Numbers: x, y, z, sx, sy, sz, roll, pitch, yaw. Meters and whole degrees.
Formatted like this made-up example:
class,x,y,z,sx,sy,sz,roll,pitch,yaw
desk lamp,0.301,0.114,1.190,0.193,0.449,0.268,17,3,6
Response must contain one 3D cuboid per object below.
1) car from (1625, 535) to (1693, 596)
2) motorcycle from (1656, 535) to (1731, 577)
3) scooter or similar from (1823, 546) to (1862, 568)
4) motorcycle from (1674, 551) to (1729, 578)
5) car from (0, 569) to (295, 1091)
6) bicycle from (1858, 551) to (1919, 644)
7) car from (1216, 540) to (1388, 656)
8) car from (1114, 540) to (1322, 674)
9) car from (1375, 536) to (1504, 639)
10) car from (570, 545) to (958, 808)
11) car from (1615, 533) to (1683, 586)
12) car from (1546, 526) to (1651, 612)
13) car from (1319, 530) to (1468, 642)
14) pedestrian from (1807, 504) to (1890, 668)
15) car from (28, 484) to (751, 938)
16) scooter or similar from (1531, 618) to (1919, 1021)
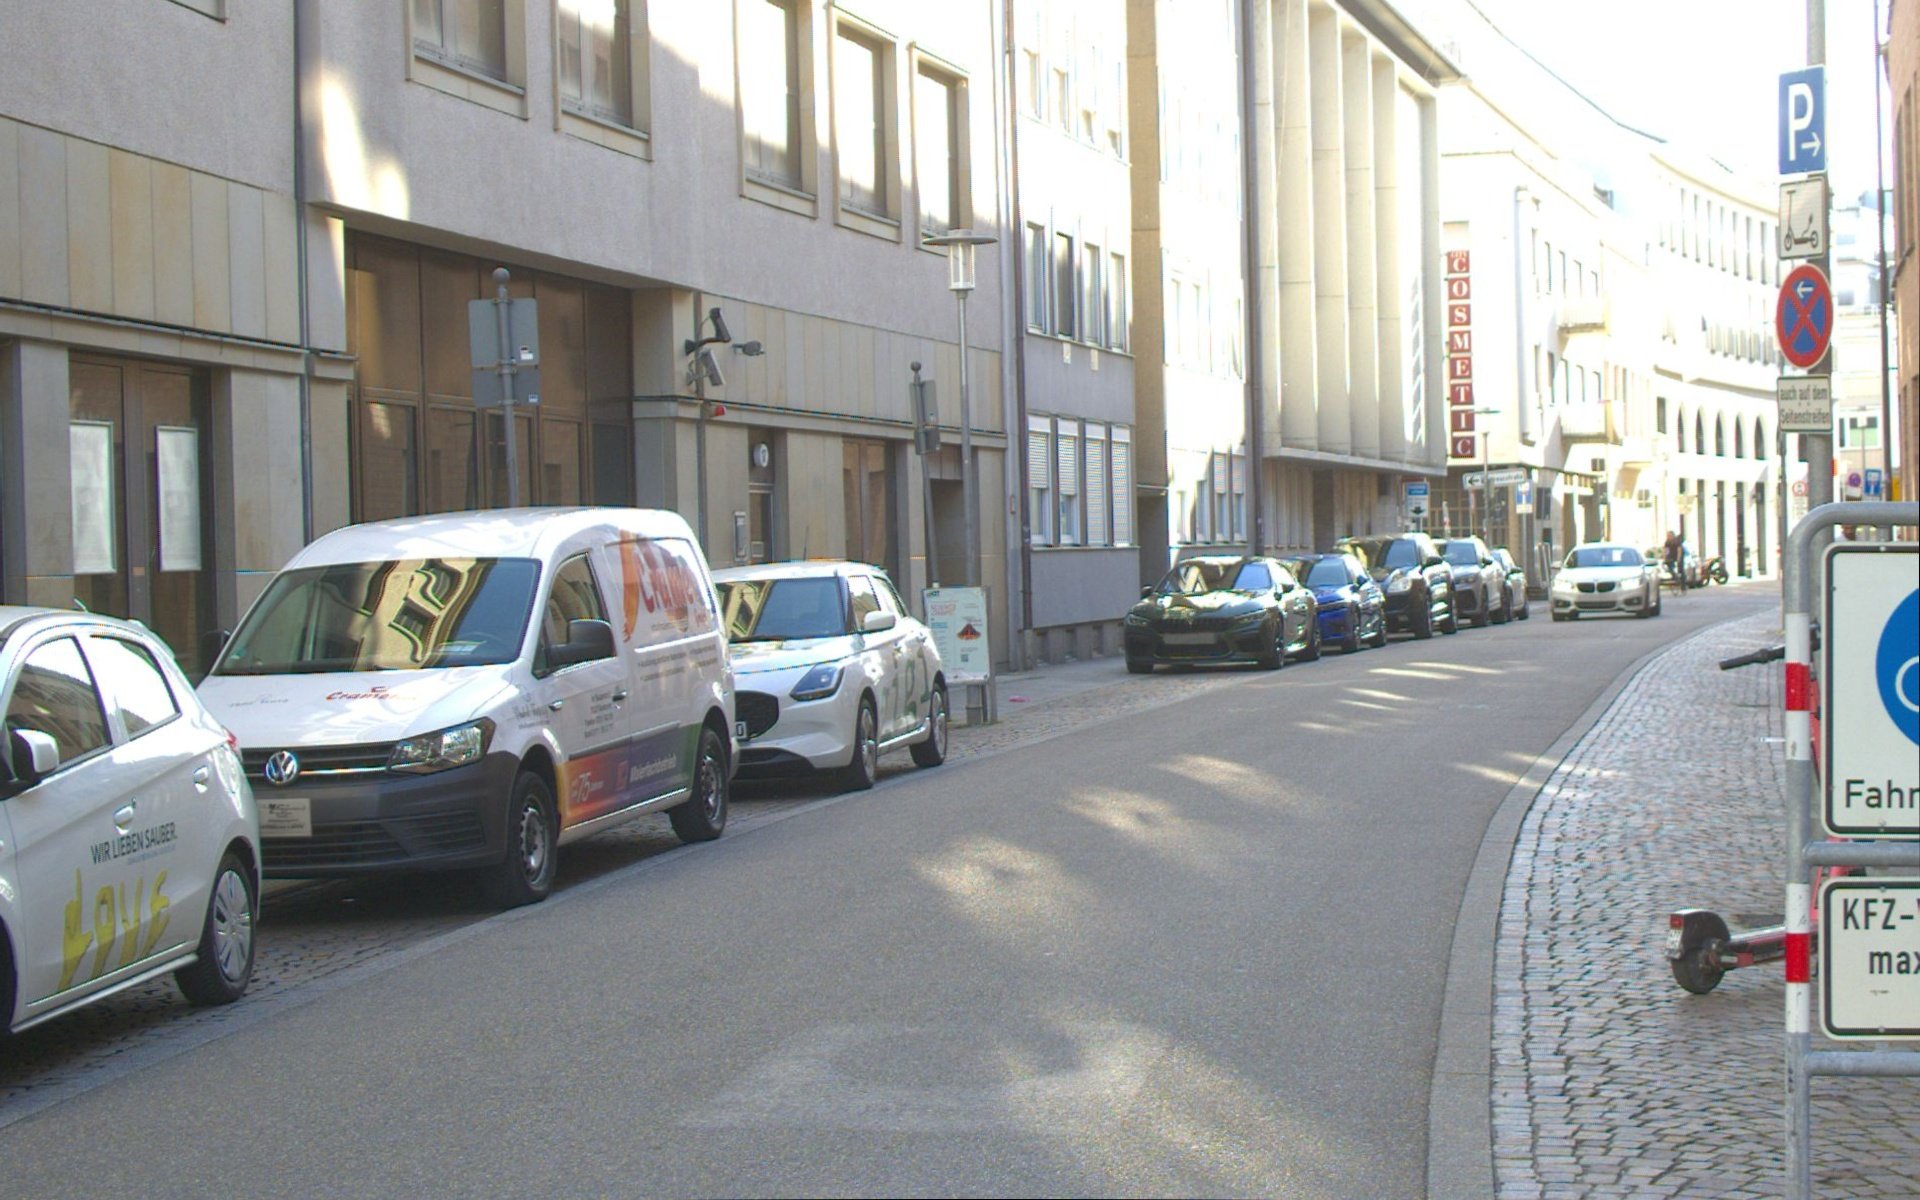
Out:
class,x,y,z,sx,sy,sz,roll,pitch,yaw
car,18.537,-0.932,91.079,1.640,1.512,4.158,-2,1,13
motorcycle,24.972,-1.501,117.097,2.392,1.312,0.861,-2,0,17
scooter or similar,37.835,-1.855,147.367,2.221,0.925,0.526,-1,2,-43
motorcycle,24.374,-1.156,112.977,1.693,0.856,0.594,1,0,22
car,-3.583,0.706,11.082,1.737,1.487,3.799,-3,1,6
bicycle,11.740,-0.043,43.437,0.550,1.099,1.981,-4,0,11
car,4.966,-0.063,49.398,1.891,1.525,4.337,-2,1,13
car,3.322,0.045,43.354,1.891,1.525,4.726,-2,1,13
car,8.719,-0.256,62.242,1.891,1.736,4.388,-2,1,13
car,-1.224,0.449,23.122,1.670,1.517,3.774,-3,1,11
car,21.339,-1.250,106.392,1.738,1.600,3.530,0,1,17
car,11.953,-0.599,64.214,1.715,1.512,4.158,-2,1,13
car,7.028,-0.257,55.395,1.891,1.670,4.551,-2,1,13
pedestrian,9.618,-0.157,37.243,0.761,1.710,0.821,-3,0,13
car,-2.578,0.432,16.901,1.900,1.851,4.732,-3,1,11
scooter or similar,2.602,0.703,11.594,1.415,1.231,0.538,-2,2,-40
